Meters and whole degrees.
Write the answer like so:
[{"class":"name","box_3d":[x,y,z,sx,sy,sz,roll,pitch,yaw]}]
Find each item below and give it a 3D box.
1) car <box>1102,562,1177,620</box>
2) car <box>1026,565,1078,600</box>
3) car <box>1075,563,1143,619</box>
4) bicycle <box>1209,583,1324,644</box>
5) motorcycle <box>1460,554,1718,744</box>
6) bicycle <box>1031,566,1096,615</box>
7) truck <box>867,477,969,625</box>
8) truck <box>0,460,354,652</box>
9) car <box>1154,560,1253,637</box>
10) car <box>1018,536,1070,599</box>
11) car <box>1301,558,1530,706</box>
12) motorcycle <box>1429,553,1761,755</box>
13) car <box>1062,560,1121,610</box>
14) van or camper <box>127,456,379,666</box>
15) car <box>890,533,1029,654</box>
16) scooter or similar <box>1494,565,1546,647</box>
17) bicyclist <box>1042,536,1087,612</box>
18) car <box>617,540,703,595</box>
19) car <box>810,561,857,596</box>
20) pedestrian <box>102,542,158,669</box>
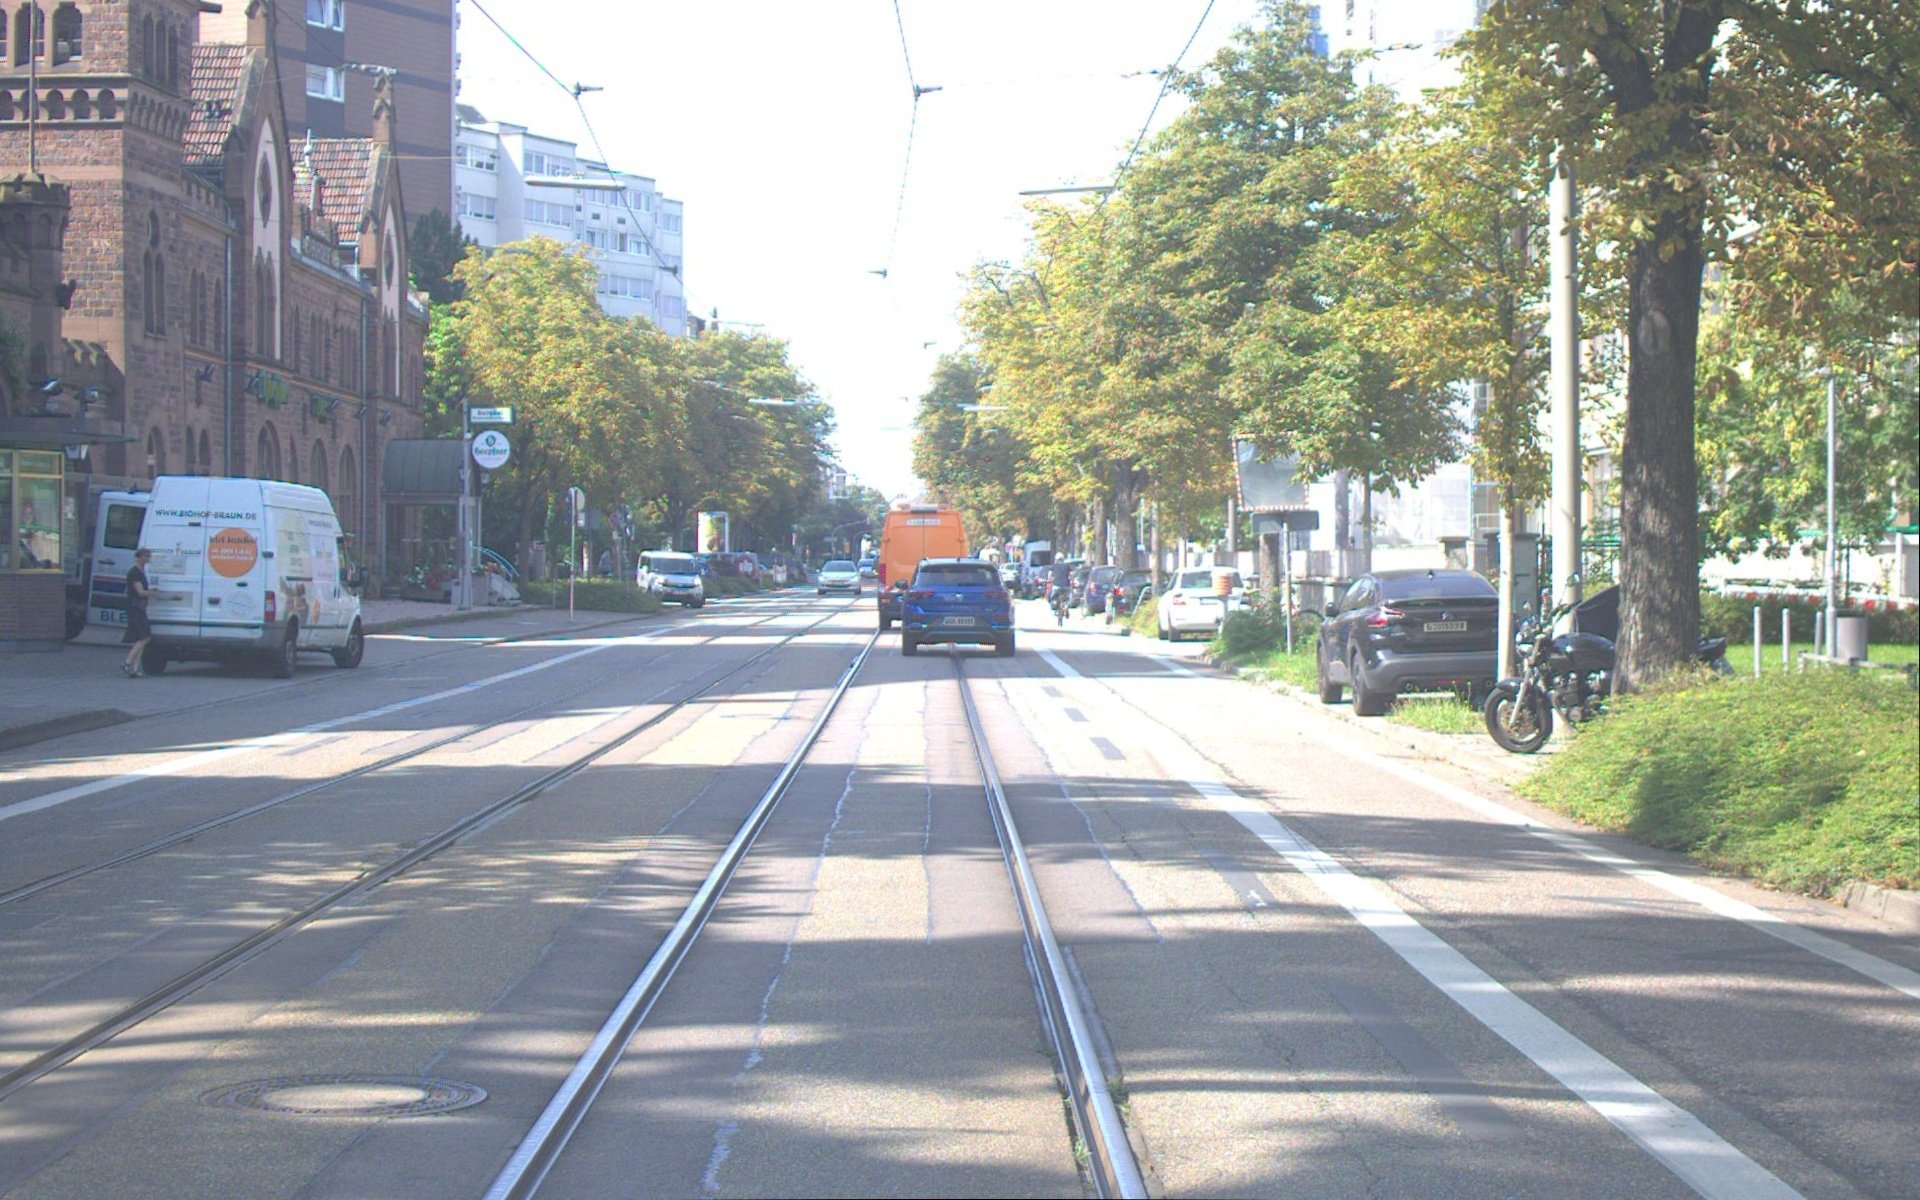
[{"class":"car","box_3d":[4.530,-0.239,87.089,1.659,1.403,4.217,0,0,0]},{"class":"car","box_3d":[3.798,-0.732,142.353,1.908,1.427,4.293,1,1,-1]},{"class":"car","box_3d":[4.249,-0.261,98.640,1.743,1.550,4.217,0,0,0]},{"class":"bicycle","box_3d":[4.987,0.218,55.949,1.812,0.955,0.558,1,1,0]},{"class":"motorcycle","box_3d":[5.247,0.382,28.860,0.850,1.511,2.456,0,1,-25]},{"class":"bicycle","box_3d":[2.469,-0.243,82.879,1.401,1.130,4.000,0,1,-1]},{"class":"truck","box_3d":[-0.910,-1.075,75.665,2.135,3.114,6.085,0,1,0]},{"class":"truck","box_3d":[-12.601,-0.724,51.948,6.322,2.529,2.130,4,2,5]},{"class":"car","box_3d":[4.840,-0.051,68.707,1.659,1.476,4.217,0,0,0]},{"class":"car","box_3d":[3.709,-1.456,152.940,1.993,2.746,5.761,1,1,-1]},{"class":"car","box_3d":[4.933,0.306,37.826,1.755,1.510,4.610,-1,1,-2]},{"class":"motorcycle","box_3d":[4.995,0.400,27.160,2.452,1.511,0.851,1,1,38]},{"class":"car","box_3d":[4.267,-0.495,111.738,1.633,1.579,4.189,1,1,-1]},{"class":"van or camper","box_3d":[-9.580,-0.537,47.103,2.113,2.666,5.955,1,1,1]},{"class":"car","box_3d":[-0.022,-0.126,55.782,2.135,1.852,5.568,0,1,0]},{"class":"scooter or similar","box_3d":[8.729,0.084,53.632,0.556,1.255,1.818,1,1,2]},{"class":"bicyclist","box_3d":[2.509,-0.623,82.847,1.031,1.806,1.016,1,1,0]},{"class":"car","box_3d":[-10.100,-1.106,115.567,1.746,1.790,4.001,1,1,-22]},{"class":"car","box_3d":[-5.544,-0.970,150.699,1.847,1.486,4.867,0,1,0]},{"class":"pedestrian","box_3d":[-10.578,0.067,43.808,0.550,1.593,0.498,1,0,5]}]
